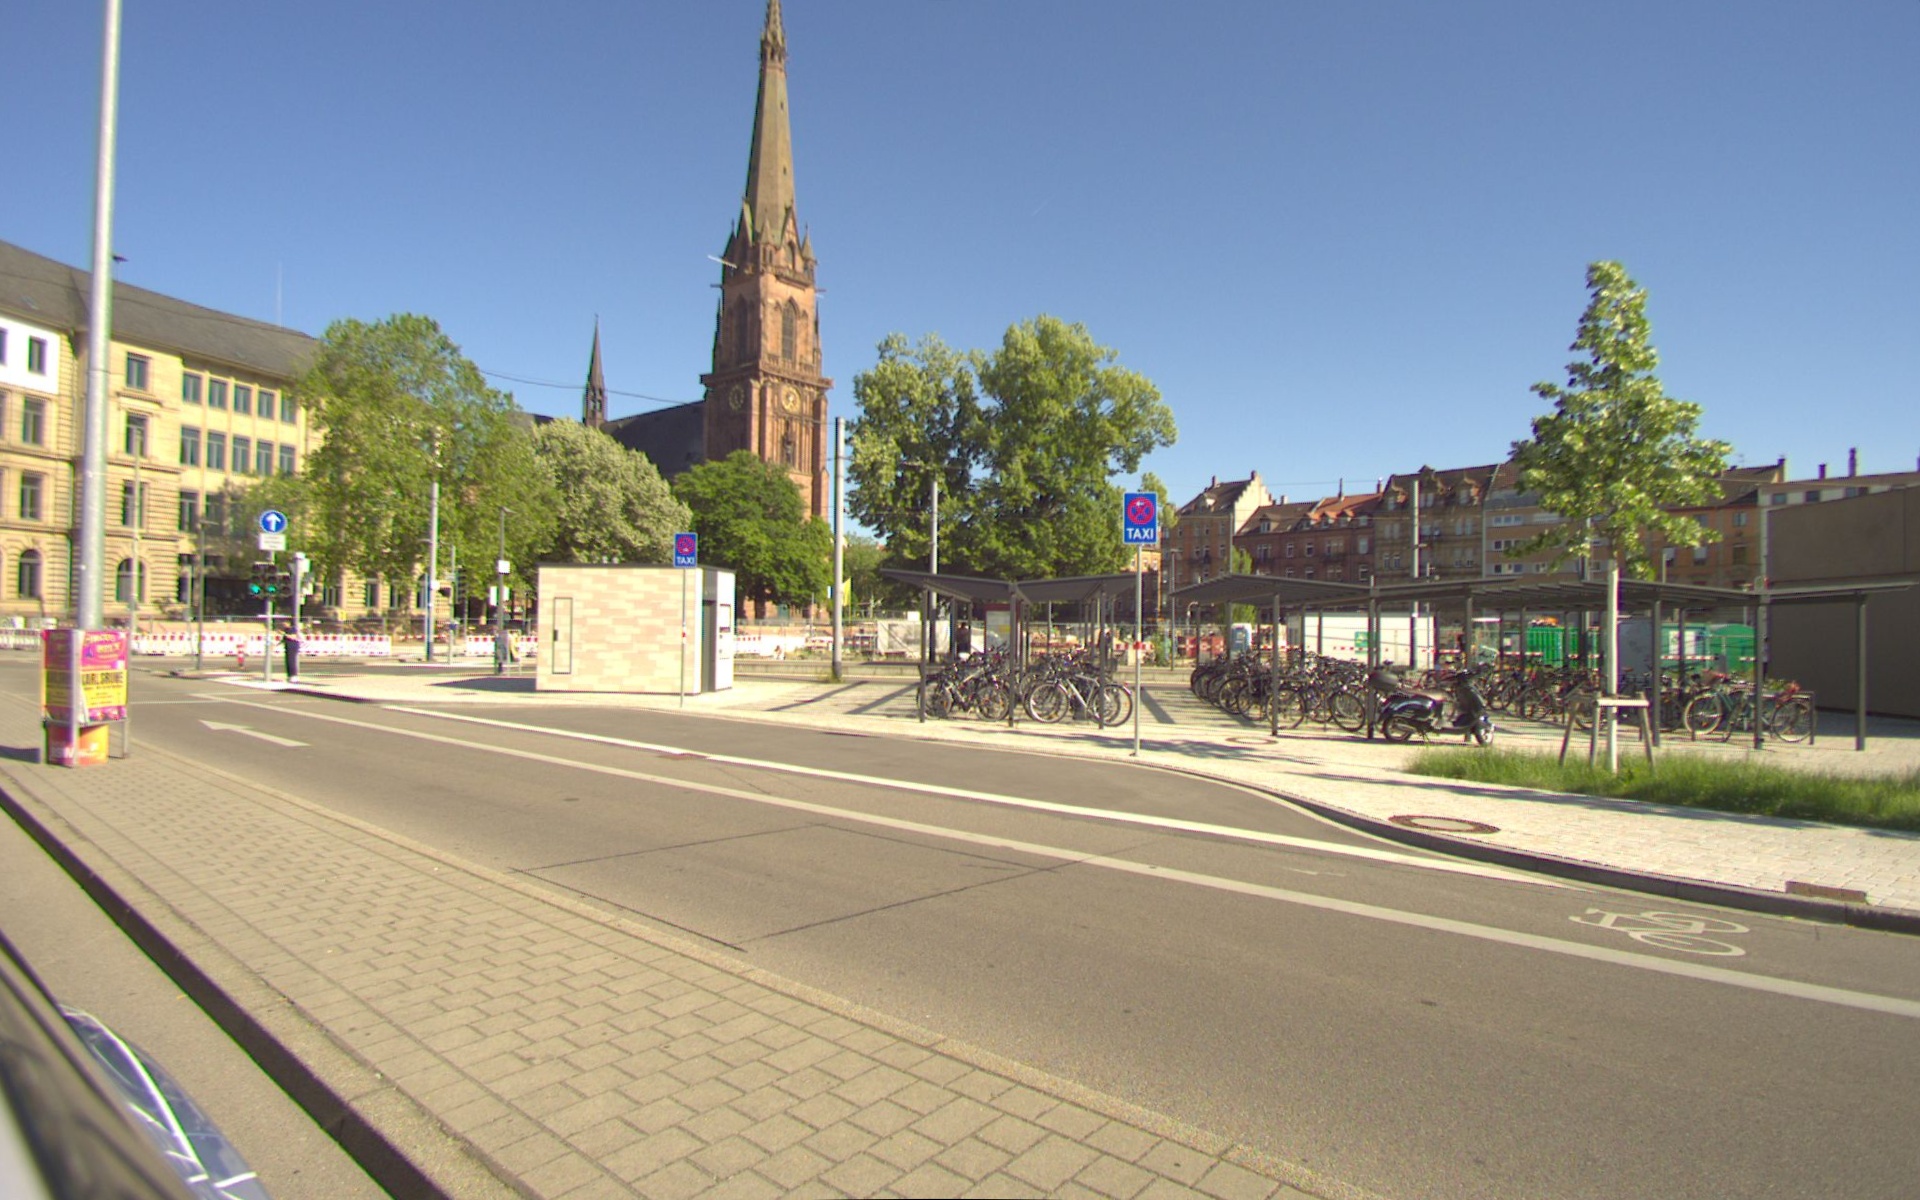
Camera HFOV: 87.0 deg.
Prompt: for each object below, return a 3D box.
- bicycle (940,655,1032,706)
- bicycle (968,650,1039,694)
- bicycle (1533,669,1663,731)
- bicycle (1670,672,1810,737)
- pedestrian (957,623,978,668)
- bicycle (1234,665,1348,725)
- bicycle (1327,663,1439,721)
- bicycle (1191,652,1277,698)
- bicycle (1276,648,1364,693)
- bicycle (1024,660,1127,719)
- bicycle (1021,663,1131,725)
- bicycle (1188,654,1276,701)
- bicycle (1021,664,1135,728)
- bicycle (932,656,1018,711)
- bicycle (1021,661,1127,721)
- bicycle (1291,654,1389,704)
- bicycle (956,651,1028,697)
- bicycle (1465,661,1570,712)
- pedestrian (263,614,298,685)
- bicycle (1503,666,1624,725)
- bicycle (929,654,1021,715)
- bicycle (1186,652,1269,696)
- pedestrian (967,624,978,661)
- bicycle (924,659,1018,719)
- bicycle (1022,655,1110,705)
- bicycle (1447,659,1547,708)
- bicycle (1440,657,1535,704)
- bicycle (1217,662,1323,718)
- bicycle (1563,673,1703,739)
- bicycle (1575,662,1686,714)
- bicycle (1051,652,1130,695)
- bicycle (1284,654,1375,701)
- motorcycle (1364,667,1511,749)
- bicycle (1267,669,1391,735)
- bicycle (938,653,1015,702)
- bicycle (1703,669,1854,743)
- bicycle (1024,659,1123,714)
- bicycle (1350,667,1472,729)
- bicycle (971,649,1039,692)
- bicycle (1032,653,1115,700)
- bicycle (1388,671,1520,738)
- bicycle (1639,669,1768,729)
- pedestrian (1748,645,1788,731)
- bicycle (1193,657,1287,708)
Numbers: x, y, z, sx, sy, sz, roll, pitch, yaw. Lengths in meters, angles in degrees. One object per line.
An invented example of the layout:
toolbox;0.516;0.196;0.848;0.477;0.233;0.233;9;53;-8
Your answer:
bicycle;0.545;1.679;21.232;1.882;1.016;0.456;0;-2;8
bicycle;1.043;1.719;24.232;1.652;1.016;0.456;0;-2;8
bicycle;11.102;1.736;17.647;1.882;1.016;0.456;0;-2;8
bicycle;13.130;1.747;17.071;1.882;1.016;0.456;0;-2;8
pedestrian;0.295;1.847;41.018;0.792;1.793;0.977;0;-2;3
bicycle;5.901;1.687;18.098;1.882;1.016;0.456;0;-2;8
bicycle;7.919;1.716;19.001;1.882;1.016;0.456;0;-2;8
bicycle;6.367;1.736;23.572;1.882;1.016;0.456;0;-2;8
bicycle;8.488;1.656;23.915;1.882;1.016;0.456;0;-2;8
bicycle;2.138;1.649;18.749;1.882;1.016;0.456;0;-2;8
bicycle;2.021;1.628;17.679;1.882;1.016;0.456;0;-2;8
bicycle;6.150;1.742;22.948;1.882;1.016;0.456;0;-2;8
bicycle;1.991;1.606;17.119;1.882;1.016;0.456;0;-2;8
bicycle;0.307;1.634;19.893;1.652;1.016;0.456;0;-2;8
bicycle;2.056;1.637;18.266;1.882;1.016;0.456;0;-2;8
bicycle;8.058;1.665;21.525;1.882;1.016;0.456;0;-2;8
bicycle;0.747;1.713;23.487;1.652;1.016;0.456;0;-2;8
bicycle;11.715;1.818;21.318;1.882;1.016;0.456;0;-2;8
pedestrian;-18.151;1.319;27.044;0.683;1.868;0.680;2;-2;-38
bicycle;11.165;1.760;18.763;1.882;1.016;0.456;0;-2;8
bicycle;0.281;1.562;18.782;1.652;1.069;0.456;0;-2;8
bicycle;6.395;1.766;24.231;1.882;1.016;0.456;0;-2;8
pedestrian;0.587;1.999;47.621;0.399;1.734;0.419;1;-2;-11
bicycle;0.203;1.589;18.196;1.652;1.016;0.456;0;-2;8
bicycle;2.298;1.726;21.926;1.882;1.016;0.456;0;-2;8
bicycle;11.785;1.829;22.249;1.882;1.016;0.456;0;-2;8
bicycle;12.080;1.840;23.200;1.882;1.016;0.456;0;-2;8
bicycle;5.899;1.712;19.328;1.882;1.016;0.456;0;-2;8
bicycle;10.974;1.721;16.542;1.882;1.016;0.456;0;-2;8
bicycle;13.875;1.822;20.976;1.882;1.016;0.456;0;-2;8
bicycle;3.163;1.780;24.604;1.882;1.016;0.456;0;-2;8
bicycle;8.317;1.739;22.823;1.882;1.016;0.456;0;-2;8
motorcycle;7.163;1.606;15.231;1.924;1.160;0.516;0;-2;6
bicycle;6.123;1.686;16.845;1.882;1.016;0.456;0;-2;8
bicycle;0.373;1.694;22.230;1.652;1.016;0.456;0;-2;8
bicycle;13.083;1.689;16.211;1.882;1.106;0.456;0;-2;8
bicycle;2.198;1.663;19.590;1.882;1.016;0.456;0;-2;8
bicycle;7.896;1.713;17.768;1.882;1.016;0.456;0;-2;8
bicycle;1.108;1.733;24.948;1.652;1.016;0.456;0;-2;8
bicycle;2.607;1.752;23.309;1.882;1.016;0.456;0;-2;8
bicycle;8.030;1.695;16.499;1.882;1.016;0.456;0;-2;8
bicycle;13.471;1.781;18.370;1.882;1.016;0.456;0;-2;8
pedestrian;19.753;2.130;24.734;0.718;2.029;0.678;-1;-3;41
bicycle;5.967;1.751;21.615;1.882;1.016;0.456;0;-2;8
